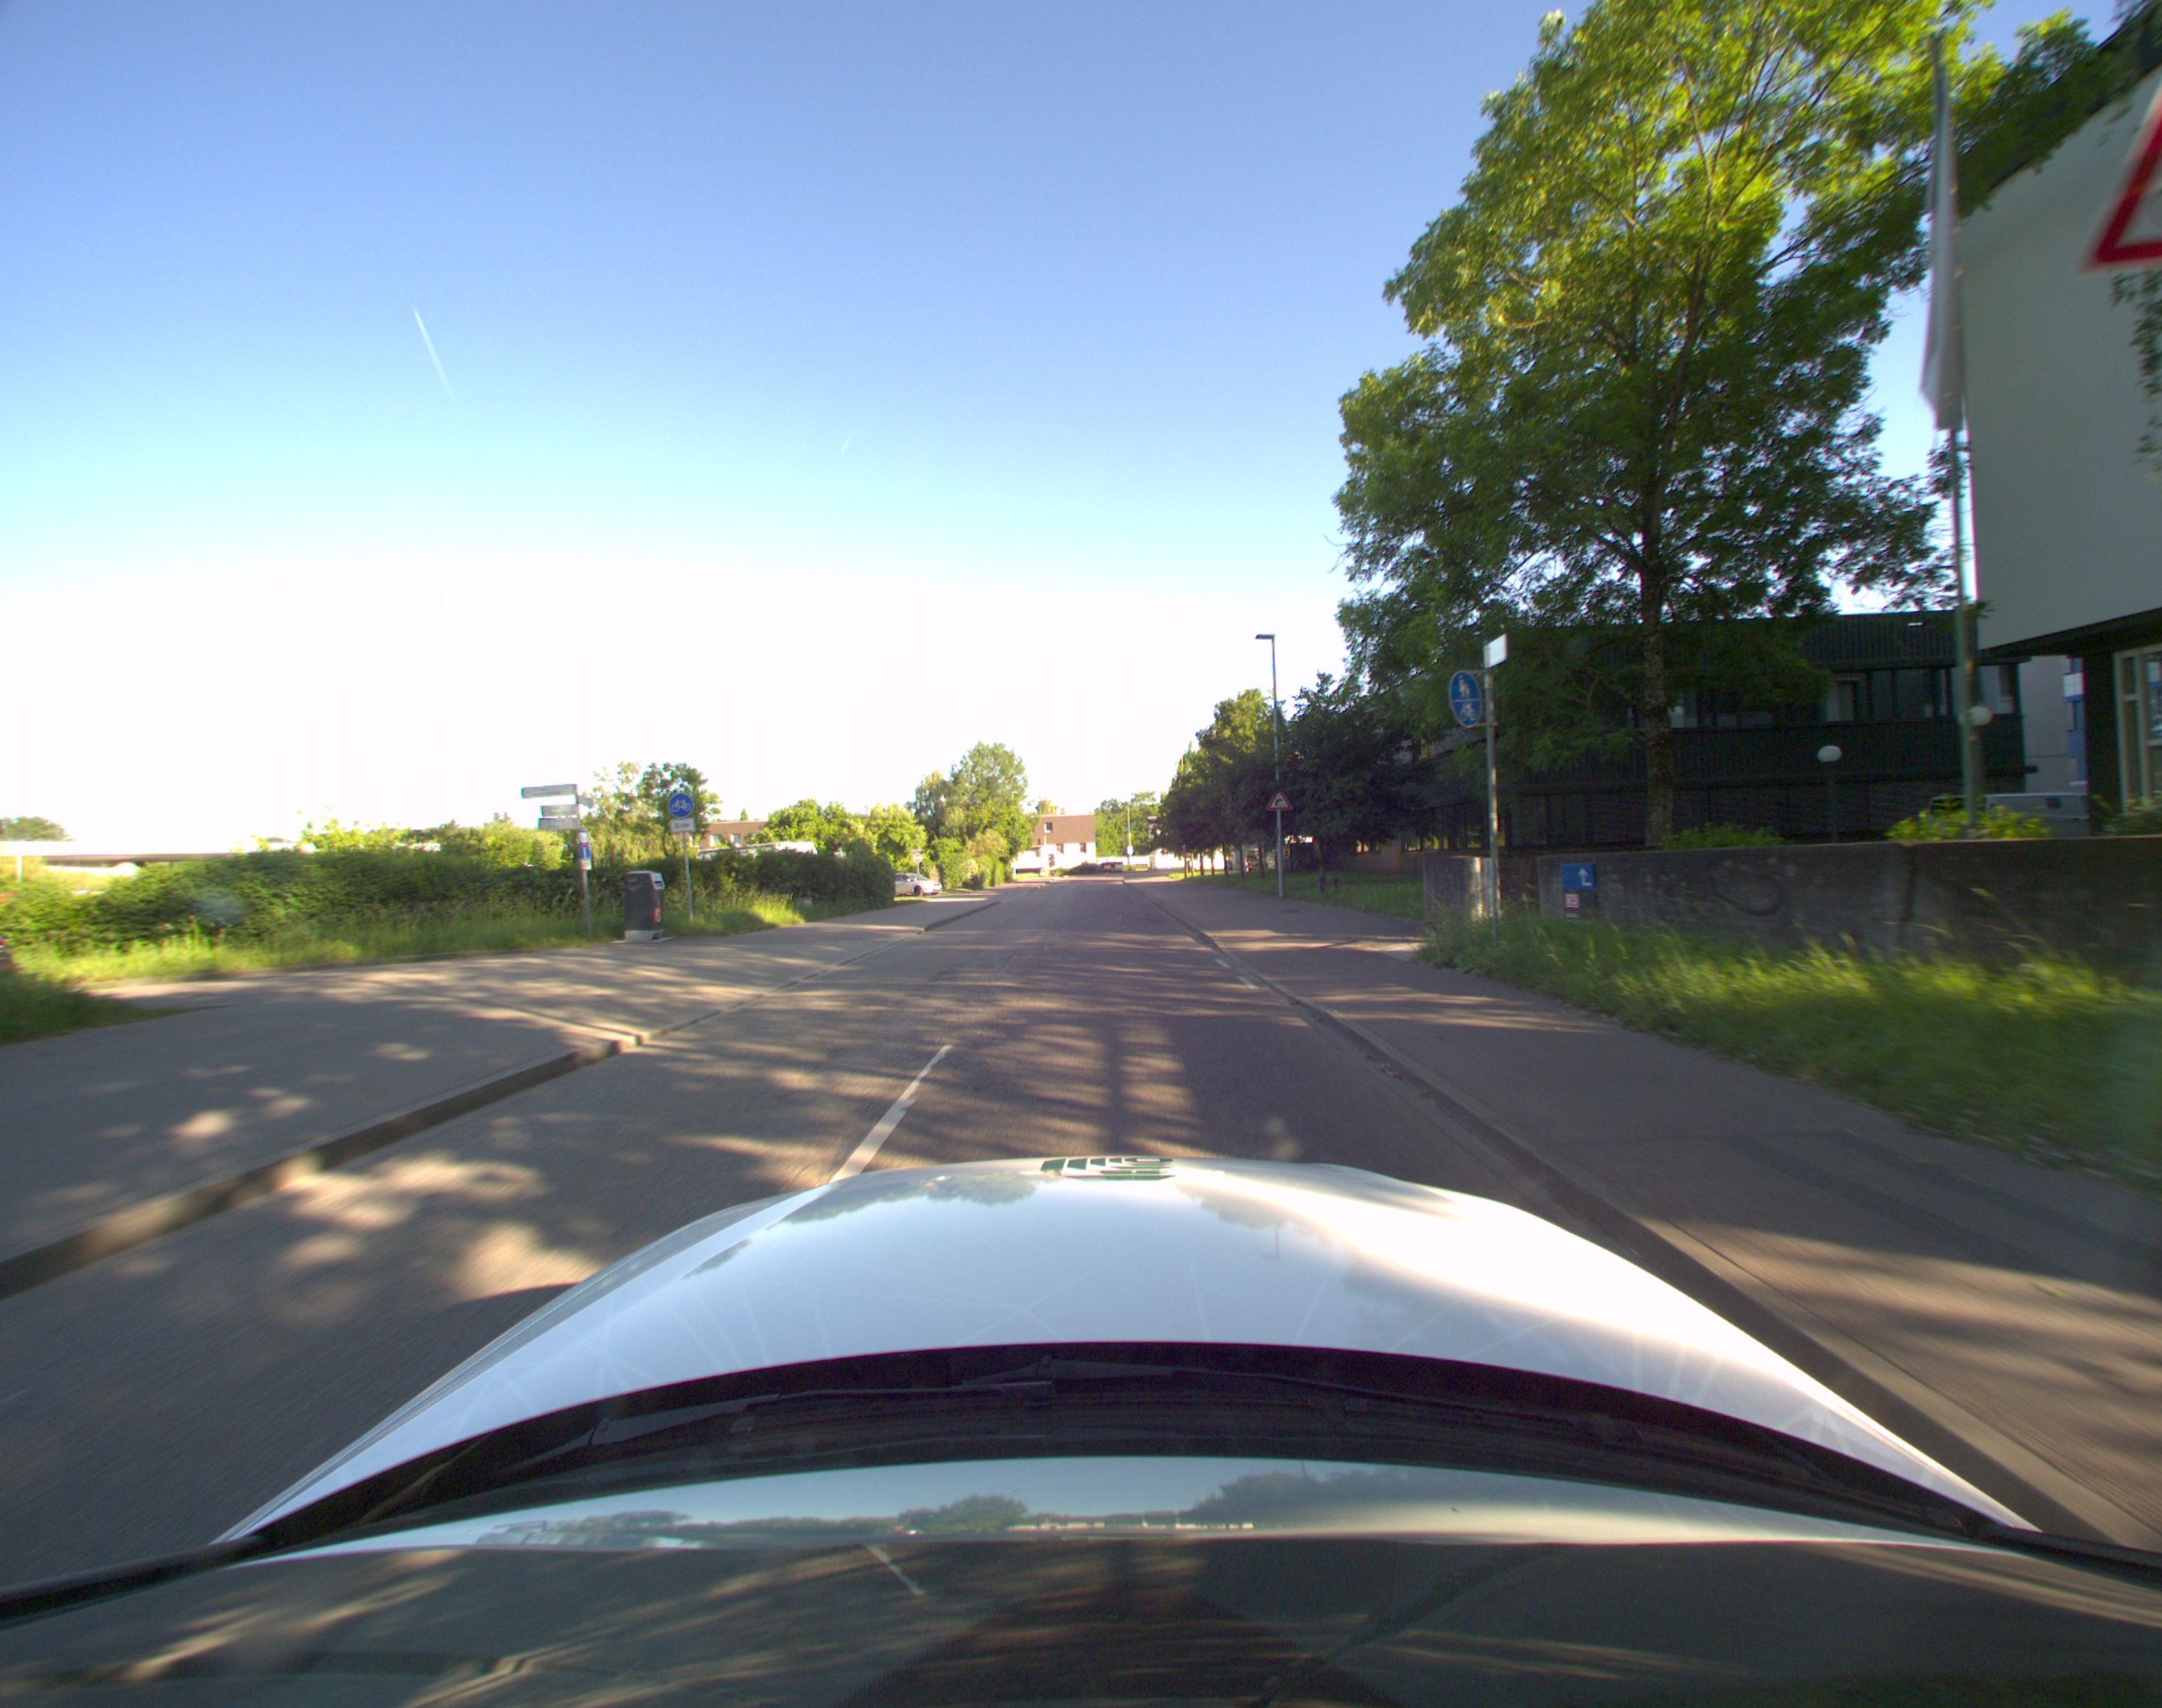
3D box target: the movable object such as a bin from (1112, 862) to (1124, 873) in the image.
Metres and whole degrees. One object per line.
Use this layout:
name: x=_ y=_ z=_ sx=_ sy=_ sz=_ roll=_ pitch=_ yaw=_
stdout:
movable object such as a bin: x=4.680 y=1.730 z=103.227 sx=1.363 sy=1.418 sz=1.063 roll=0 pitch=-2 yaw=-6

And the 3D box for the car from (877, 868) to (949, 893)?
car: x=-10.664 y=1.688 z=51.706 sx=4.171 sy=1.490 sz=1.887 roll=-2 pitch=-2 yaw=27

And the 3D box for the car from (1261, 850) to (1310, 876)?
car: x=12.570 y=0.594 z=50.265 sx=1.830 sy=1.467 sz=4.276 roll=-1 pitch=-2 yaw=-1

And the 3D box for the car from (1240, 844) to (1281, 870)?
car: x=13.783 y=0.272 z=62.869 sx=1.831 sy=1.815 sz=4.659 roll=-1 pitch=-2 yaw=-4

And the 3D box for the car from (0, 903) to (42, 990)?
car: x=-19.877 y=1.583 z=12.816 sx=4.026 sy=1.448 sz=1.881 roll=-2 pitch=-3 yaw=-12

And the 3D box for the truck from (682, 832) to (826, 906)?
truck: x=-19.428 y=0.985 z=48.138 sx=9.215 sy=3.884 sz=2.727 roll=-3 pitch=-3 yaw=30

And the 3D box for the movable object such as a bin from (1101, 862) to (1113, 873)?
movable object such as a bin: x=3.306 y=1.738 z=102.948 sx=1.363 sy=1.418 sz=1.063 roll=0 pitch=-2 yaw=-6

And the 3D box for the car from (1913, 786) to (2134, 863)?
car: x=26.943 y=-0.802 z=23.397 sx=3.974 sy=2.014 sz=1.999 roll=-1 pitch=-2 yaw=0

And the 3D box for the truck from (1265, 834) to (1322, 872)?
truck: x=16.673 y=-0.031 z=64.305 sx=2.354 sy=2.838 sz=6.741 roll=-1 pitch=-1 yaw=-3
